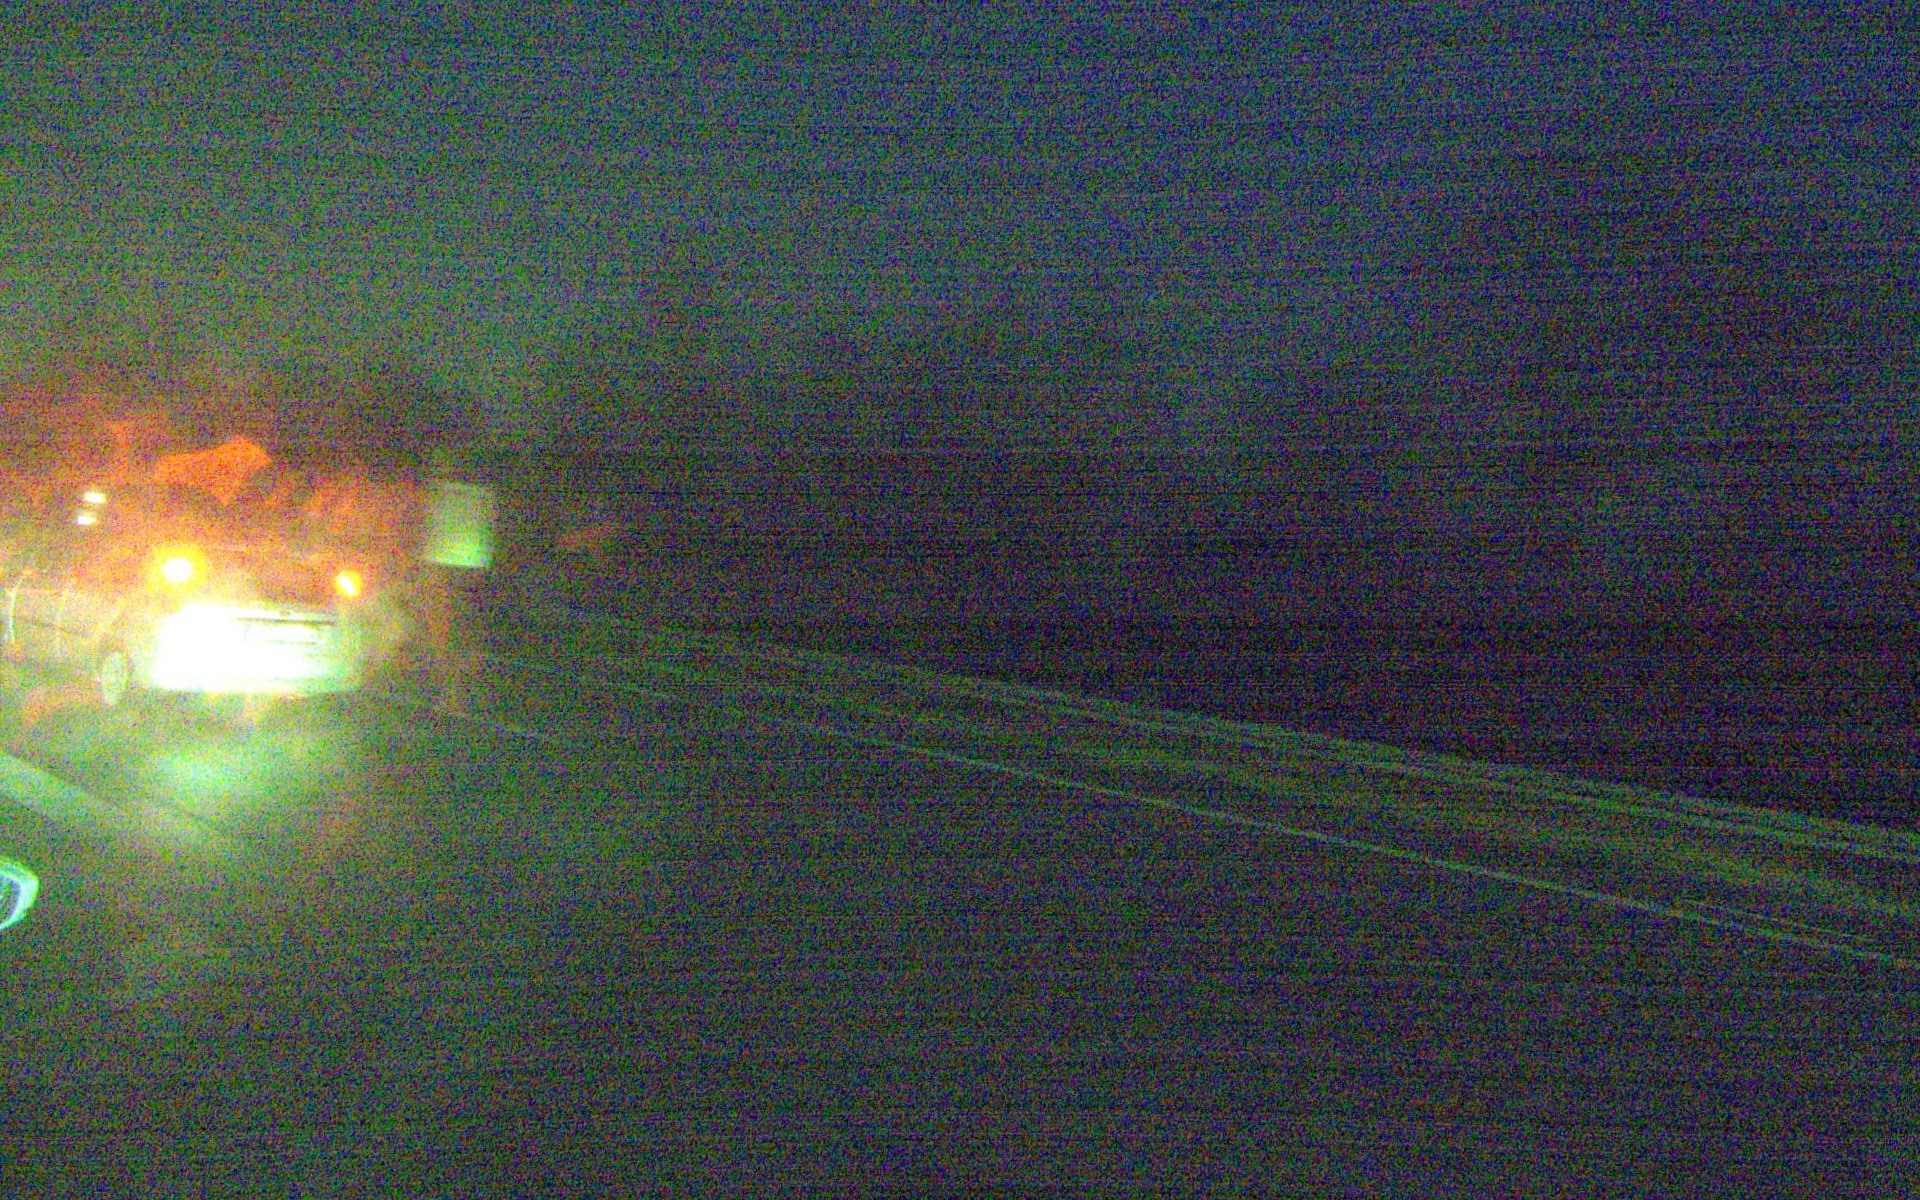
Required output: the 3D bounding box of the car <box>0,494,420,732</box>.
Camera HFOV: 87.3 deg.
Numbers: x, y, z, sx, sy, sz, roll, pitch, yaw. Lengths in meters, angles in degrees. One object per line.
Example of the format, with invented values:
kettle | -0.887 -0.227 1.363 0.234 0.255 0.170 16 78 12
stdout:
car | -6.764 0.028 8.616 4.124 1.475 1.773 7 -1 30
